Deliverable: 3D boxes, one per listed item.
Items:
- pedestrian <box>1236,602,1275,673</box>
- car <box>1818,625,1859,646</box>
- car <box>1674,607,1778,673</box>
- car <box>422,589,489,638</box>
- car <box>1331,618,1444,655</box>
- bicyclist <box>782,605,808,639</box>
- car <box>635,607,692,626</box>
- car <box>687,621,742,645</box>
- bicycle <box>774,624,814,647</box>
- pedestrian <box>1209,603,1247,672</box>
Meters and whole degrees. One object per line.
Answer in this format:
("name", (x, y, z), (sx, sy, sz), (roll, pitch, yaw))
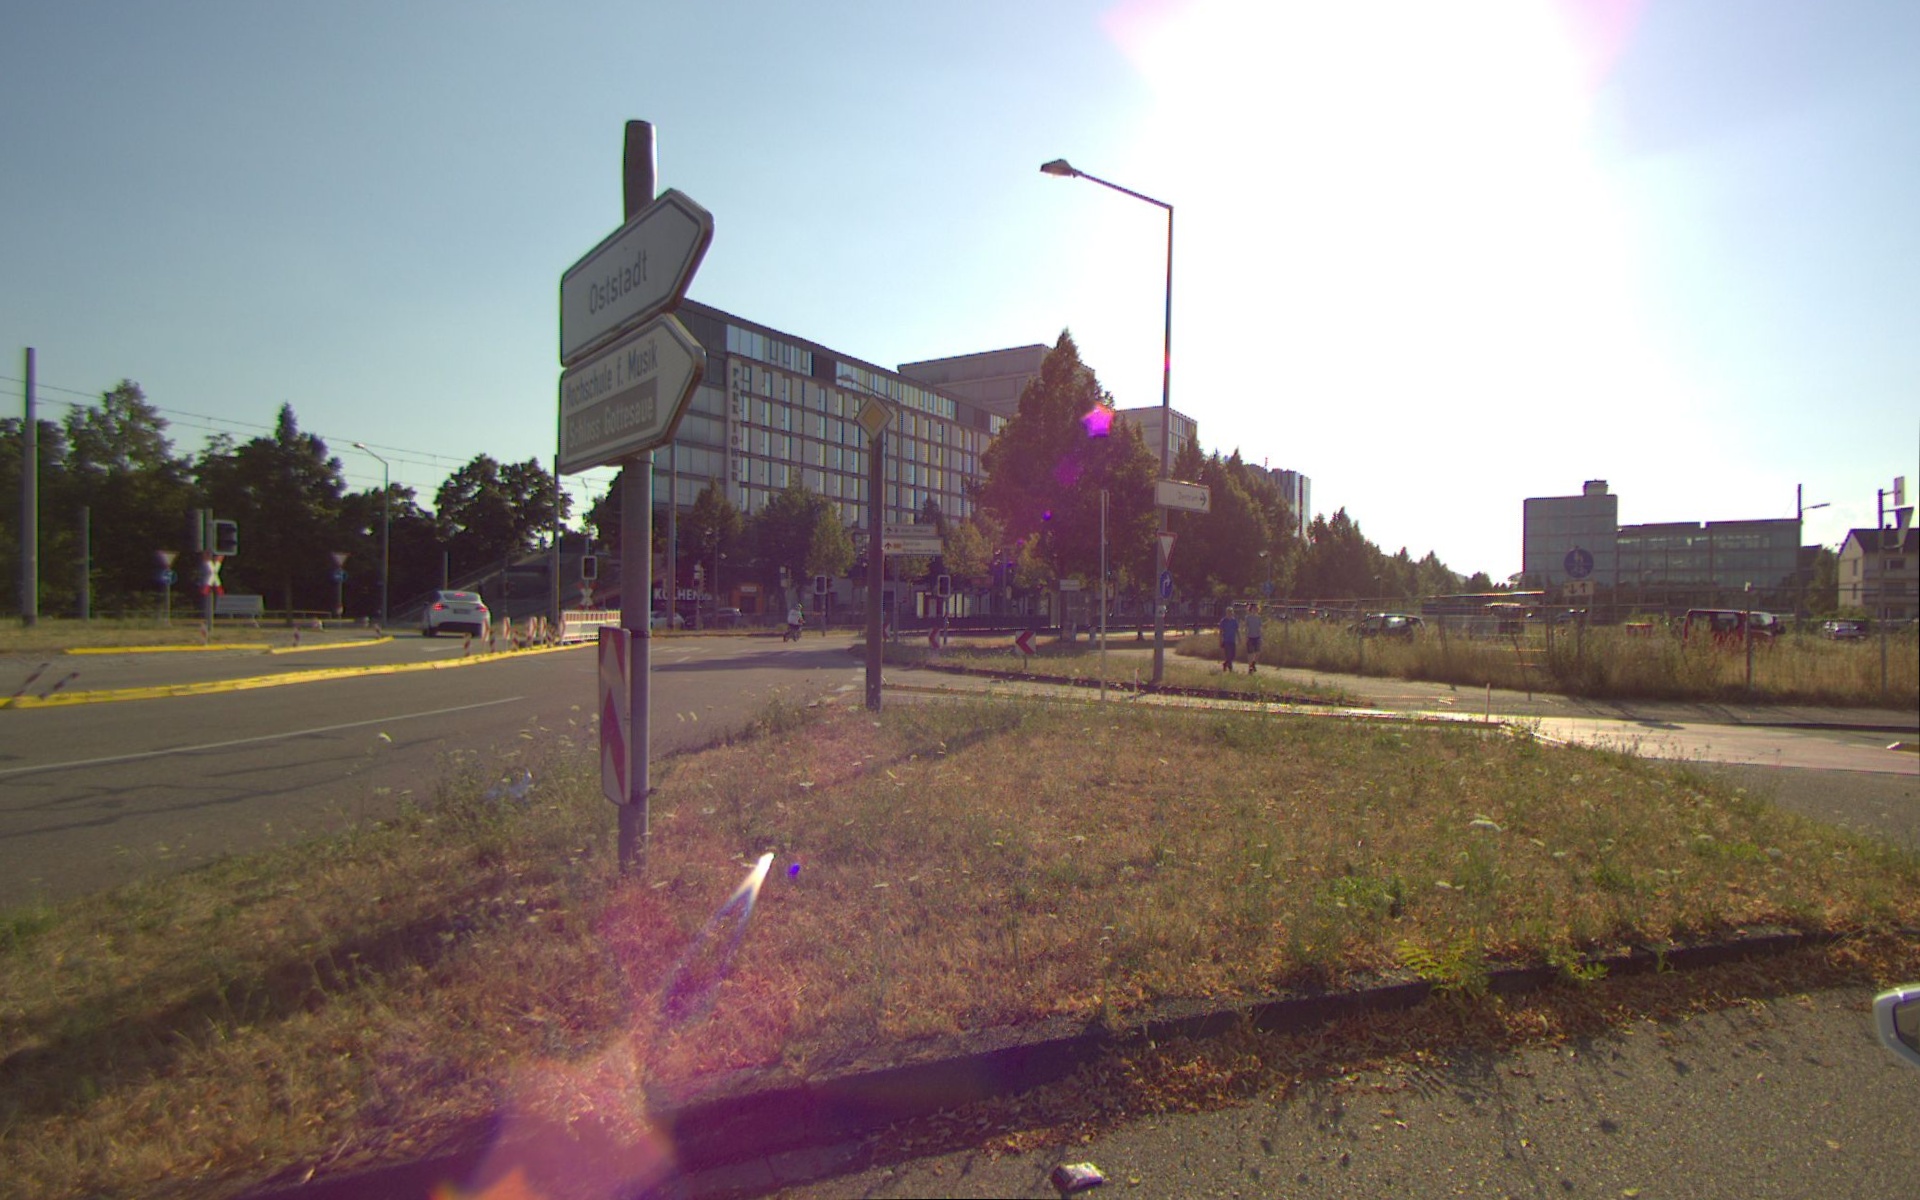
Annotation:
("pedestrian", (7.656, 0.959, 26.032), (0.745, 1.799, 0.772), (1, 0, 0))
("car", (83.336, 3.311, 95.359), (2.115, 1.862, 4.353), (1, 0, 30))
("car", (26.206, 1.317, 34.299), (5.275, 2.040, 1.975), (1, 0, -43))
("car", (-17.846, 0.449, 35.567), (1.974, 1.596, 3.972), (1, 0, -27))
("car", (17.655, 1.461, 41.491), (4.165, 1.381, 1.998), (1, 0, 26))
("bicyclist", (-7.089, 0.951, 43.221), (0.854, 1.429, 0.628), (2, 1, 25))
("car", (-20.361, 1.139, 68.962), (1.632, 1.256, 3.492), (1, -1, 36))
("car", (-16.529, 2.208, 67.748), (1.541, 1.595, 3.319), (1, 0, 43))
("bicycle", (-7.107, 1.502, 43.116), (0.835, 0.941, 1.717), (1, 0, 25))
("pedestrian", (6.929, 0.953, 26.021), (0.770, 1.731, 0.813), (1, 0, 2))
